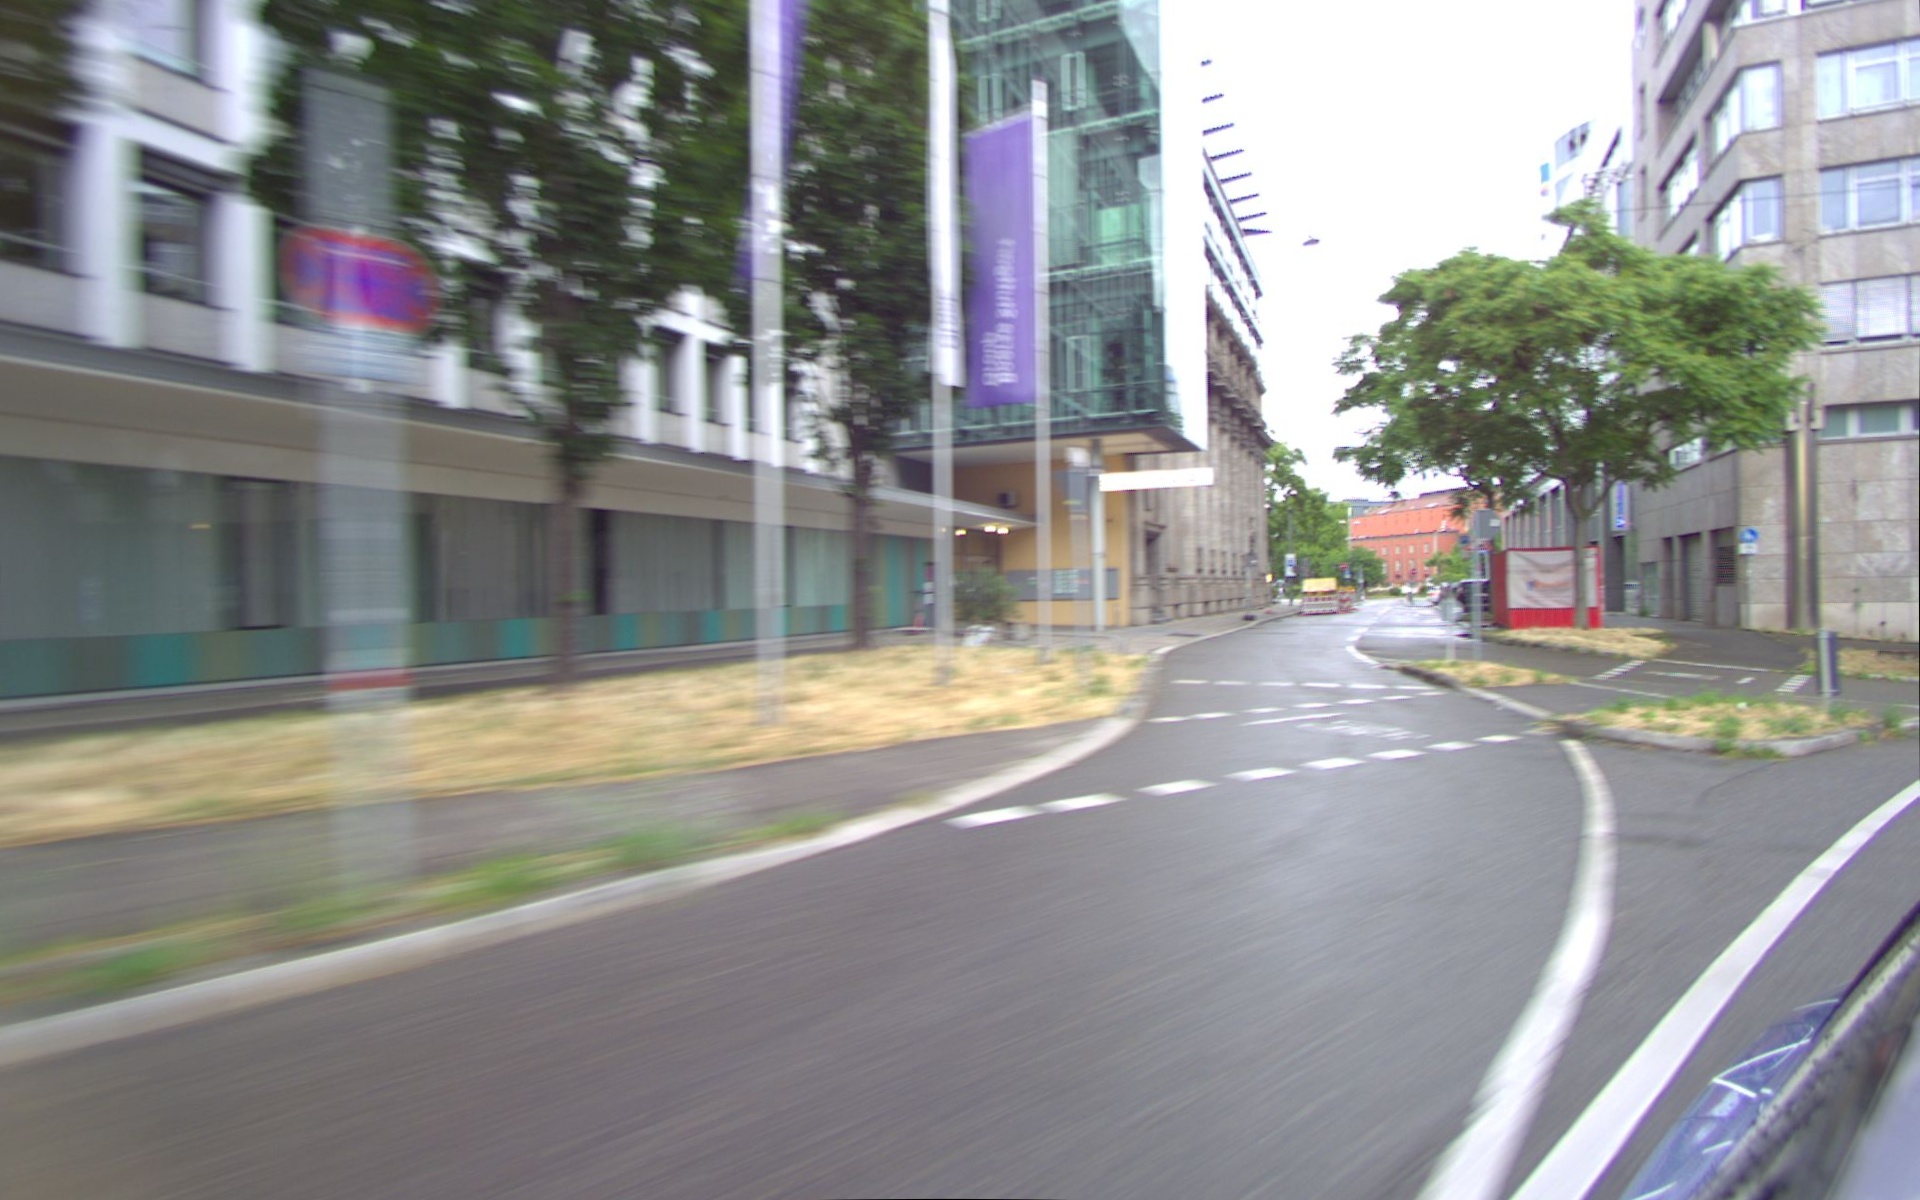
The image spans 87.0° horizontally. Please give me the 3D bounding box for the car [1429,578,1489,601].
[{"bbox_3d":[37.971,-0.818,77.060,3.712,1.671,1.794,1,1,11],"label":"car"}]

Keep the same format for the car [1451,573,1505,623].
[{"bbox_3d":[23.595,-0.108,46.039,1.982,2.106,3.959,-2,0,30],"label":"car"}]
